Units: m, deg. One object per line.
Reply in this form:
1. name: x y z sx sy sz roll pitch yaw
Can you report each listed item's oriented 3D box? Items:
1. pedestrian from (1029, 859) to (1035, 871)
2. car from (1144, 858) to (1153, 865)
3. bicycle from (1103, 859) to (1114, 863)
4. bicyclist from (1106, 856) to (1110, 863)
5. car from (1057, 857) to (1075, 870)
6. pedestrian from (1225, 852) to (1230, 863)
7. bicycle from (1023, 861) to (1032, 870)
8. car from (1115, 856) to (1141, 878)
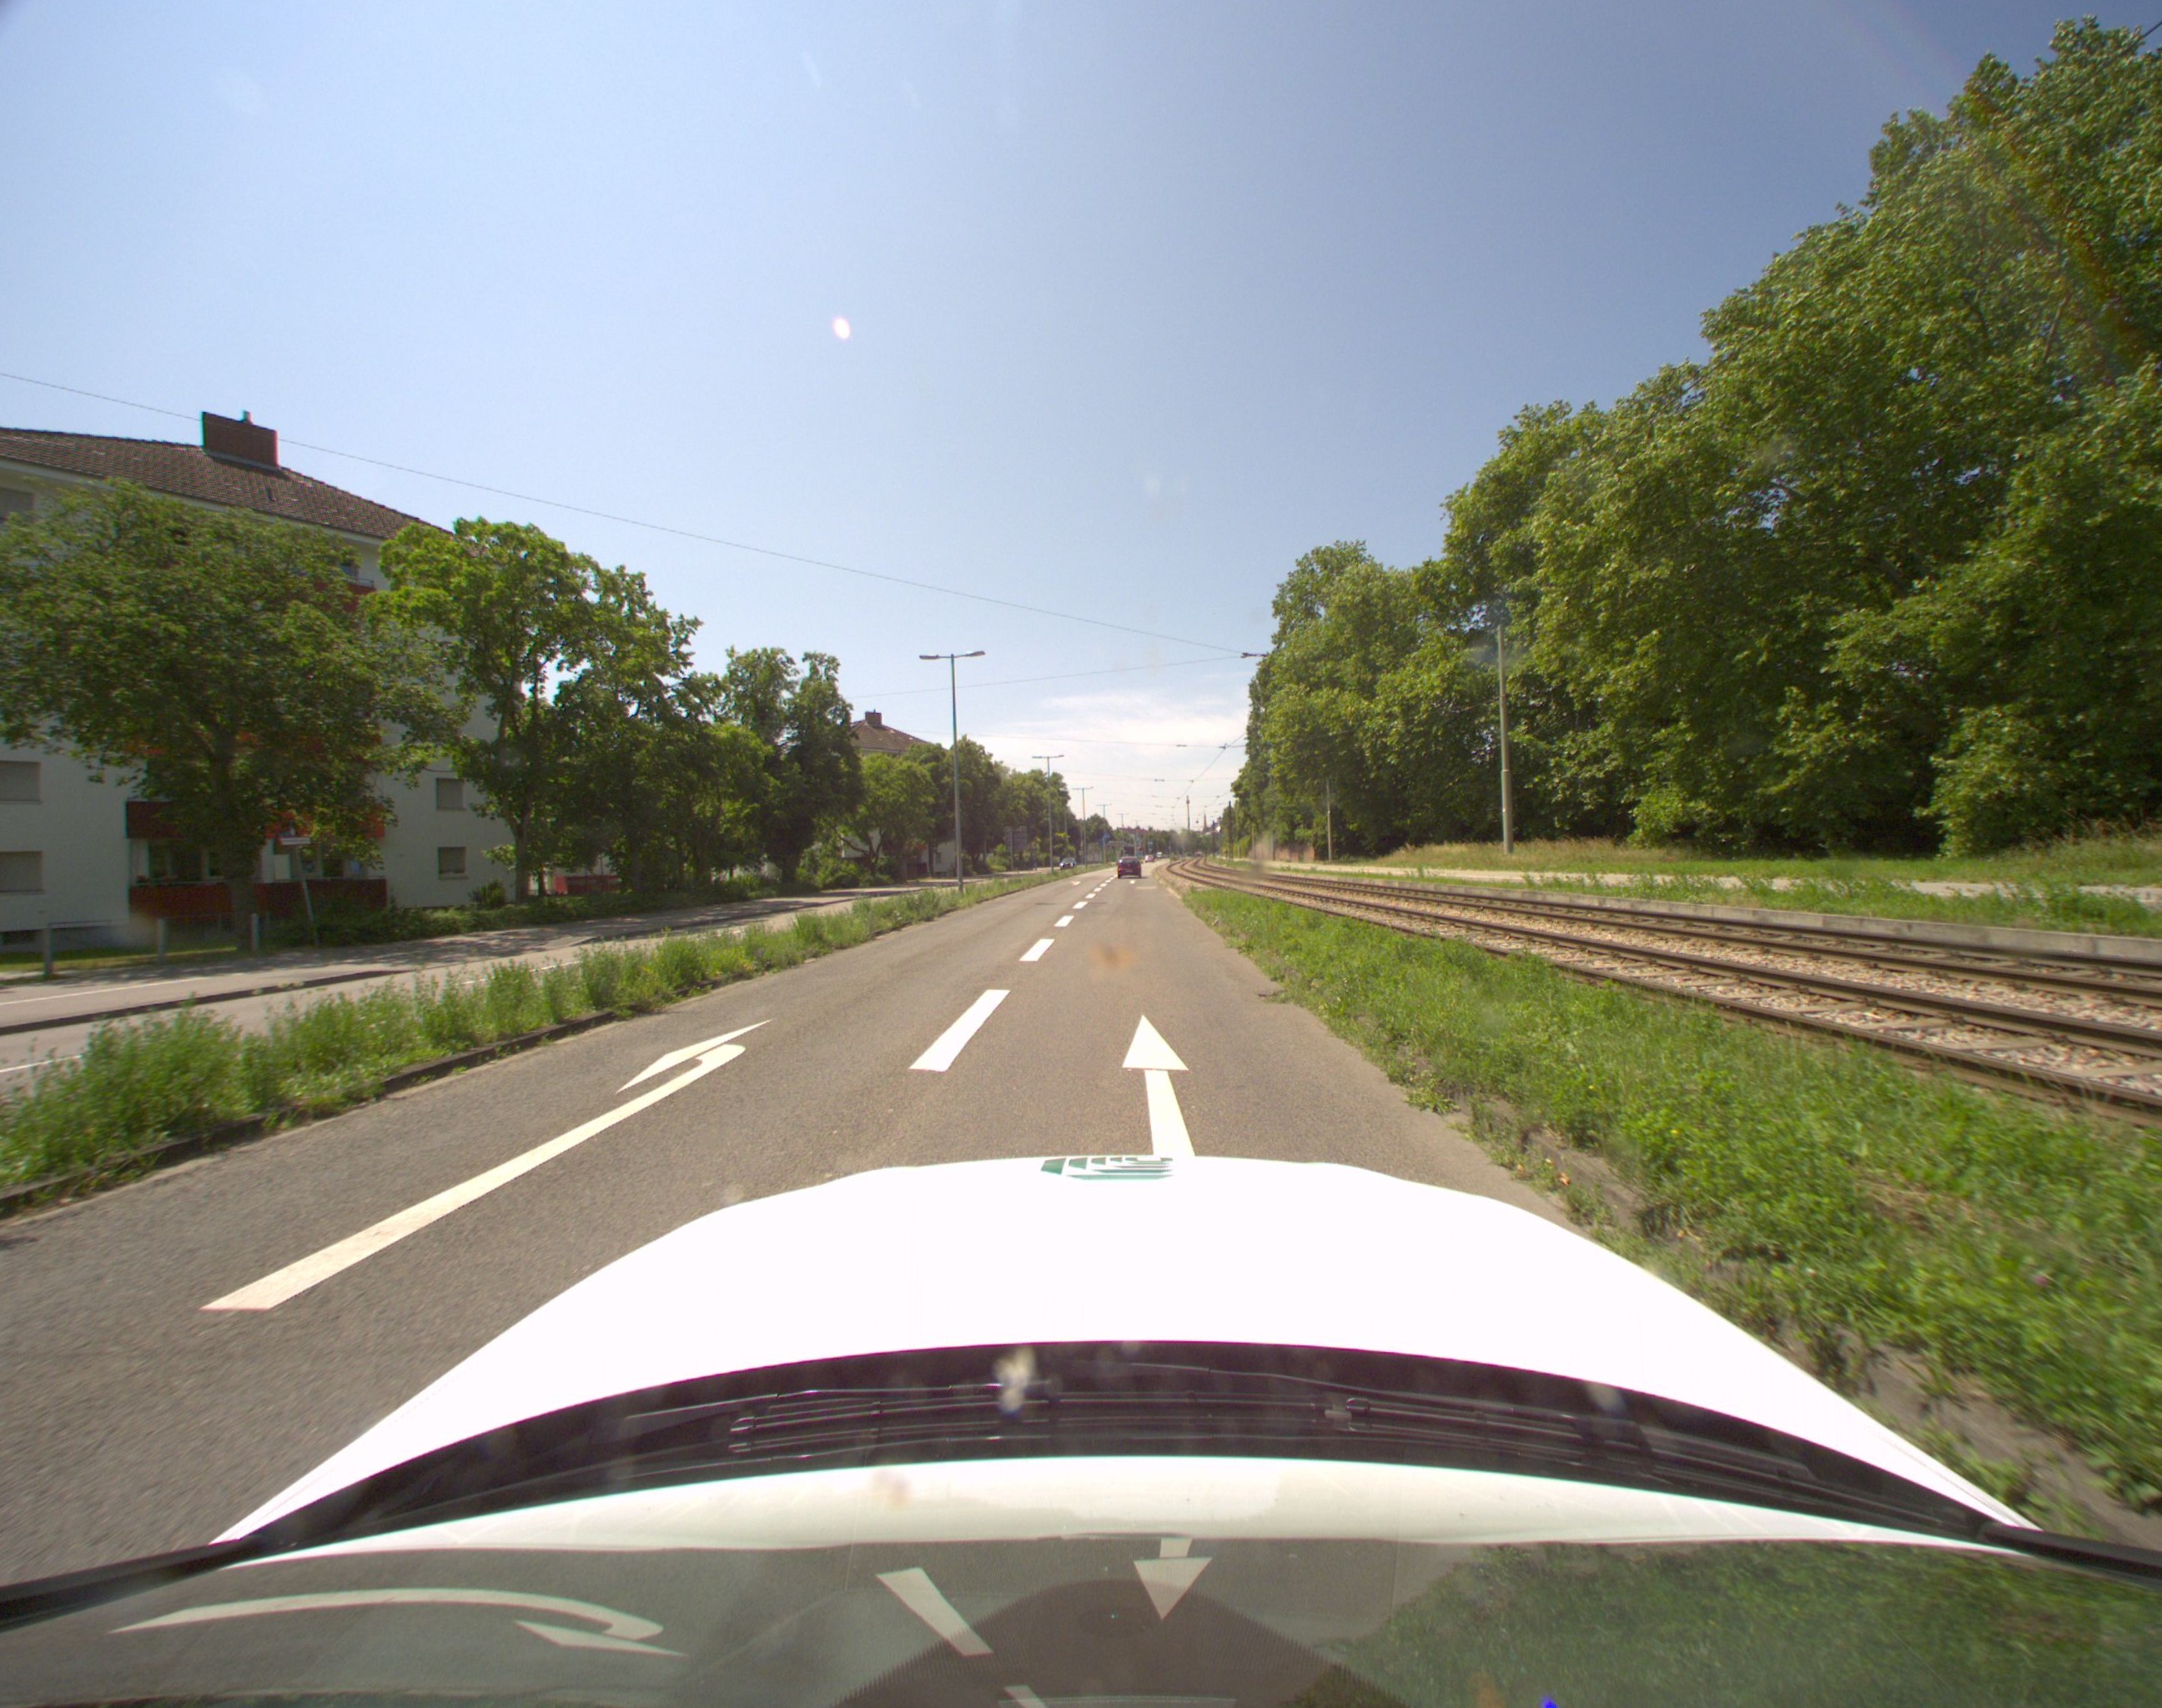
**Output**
1. pedestrian: -6.991 1.560 116.330 0.544 1.718 0.607 -3 -1 21
2. car: 13.814 1.593 166.141 1.695 1.481 3.719 1 -1 3
3. bicycle: 6.861 1.822 203.589 2.546 1.038 1.085 -1 -1 -6
4. bicyclist: 6.804 1.352 203.623 0.943 1.593 1.085 -1 -1 -5
5. car: -2.056 1.249 110.481 1.914 1.626 4.762 -4 -1 4
6. pedestrian: 23.137 0.545 128.914 0.658 1.726 0.818 -3 -1 7
7. bicycle: -7.626 1.623 116.284 0.640 1.327 1.581 -3 0 21
8. car: 3.265 0.915 56.005 1.695 1.477 3.719 1 -1 4
